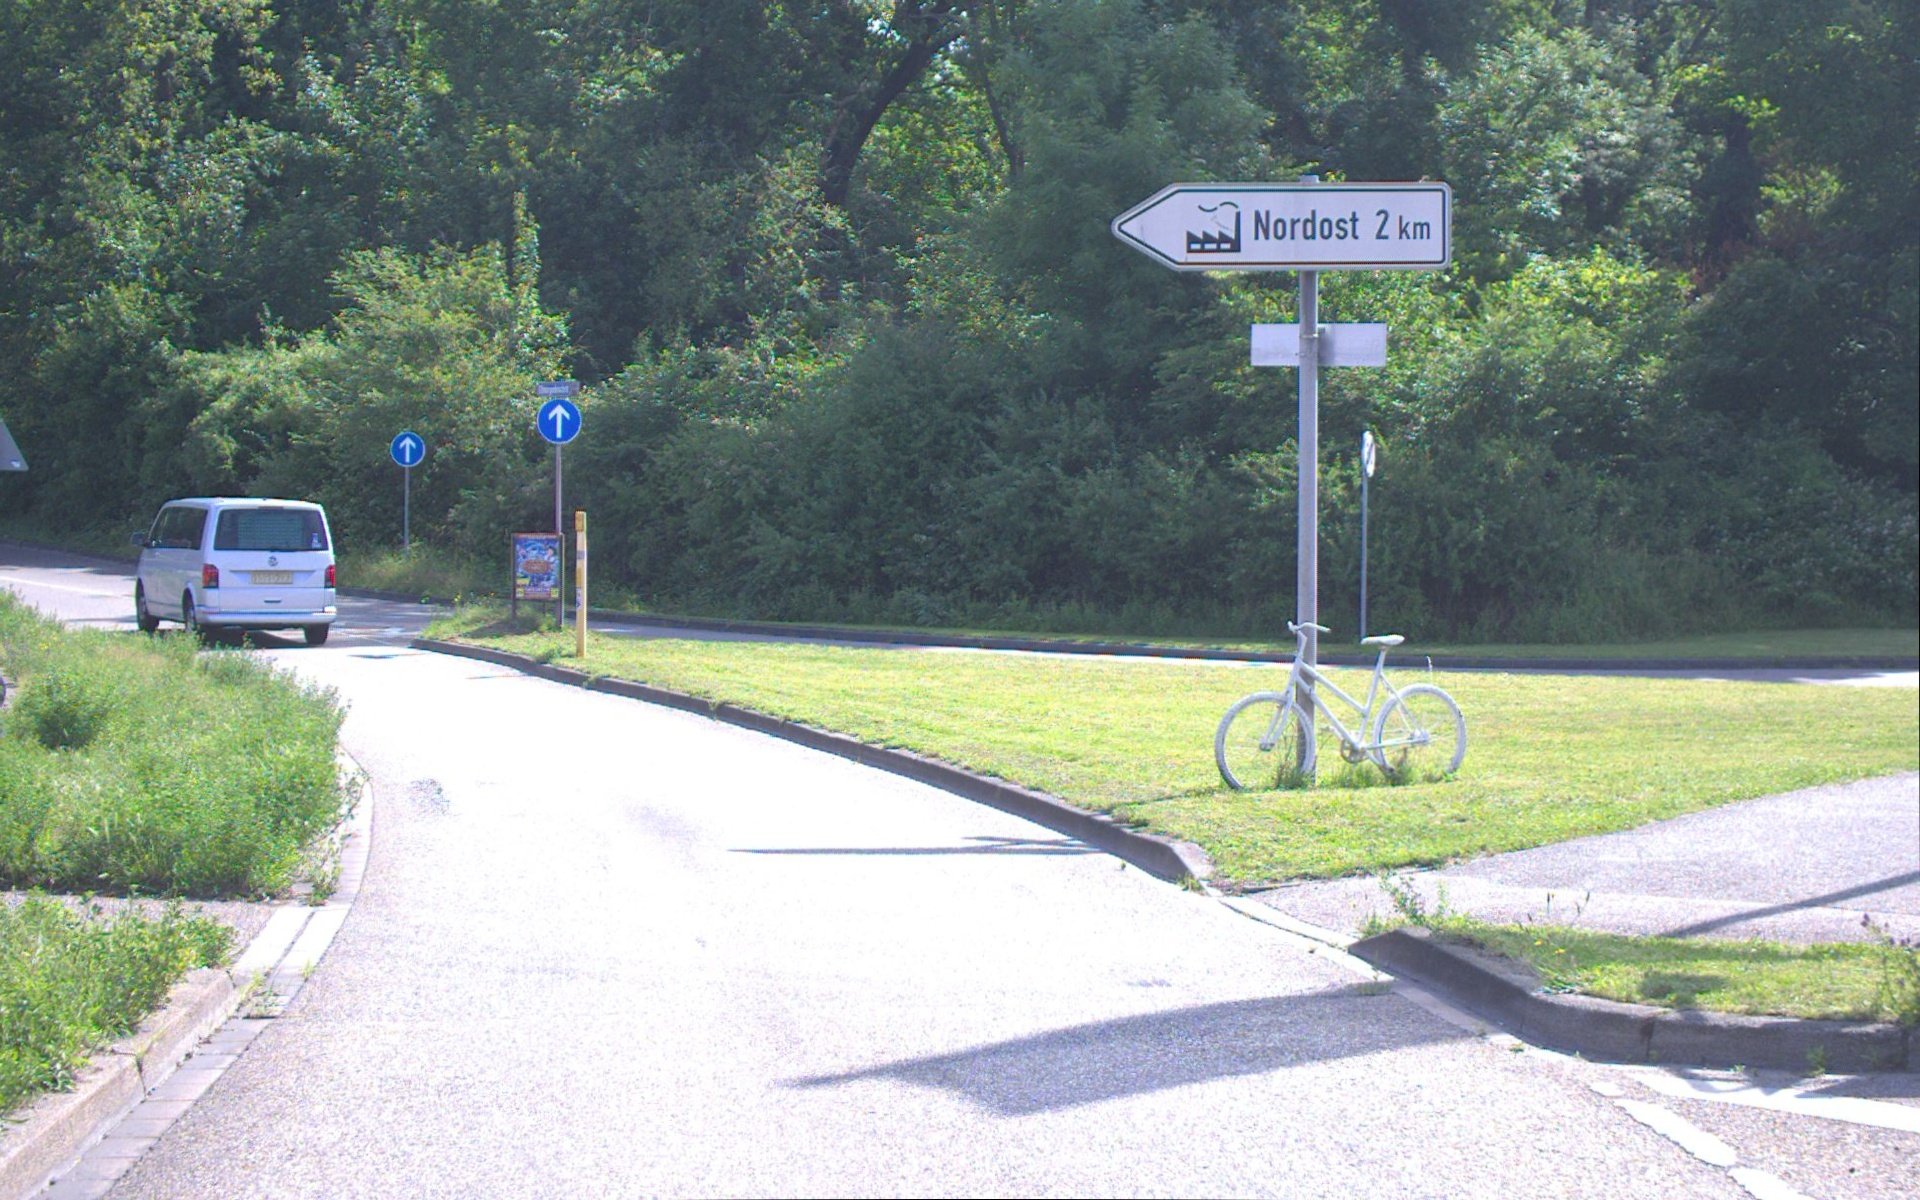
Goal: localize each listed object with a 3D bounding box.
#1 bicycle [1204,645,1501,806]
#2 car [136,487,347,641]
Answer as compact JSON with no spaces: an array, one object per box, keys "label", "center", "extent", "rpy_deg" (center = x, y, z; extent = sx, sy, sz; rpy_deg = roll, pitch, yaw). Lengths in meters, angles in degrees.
[{"label":"bicycle","center":[2.297,0.721,20.061],"extent":[1.783,0.886,0.271],"rpy_deg":[-1,1,-19]},{"label":"car","center":[-9.854,-0.510,46.922],"extent":[2.039,2.007,4.001],"rpy_deg":[0,1,-24]}]
